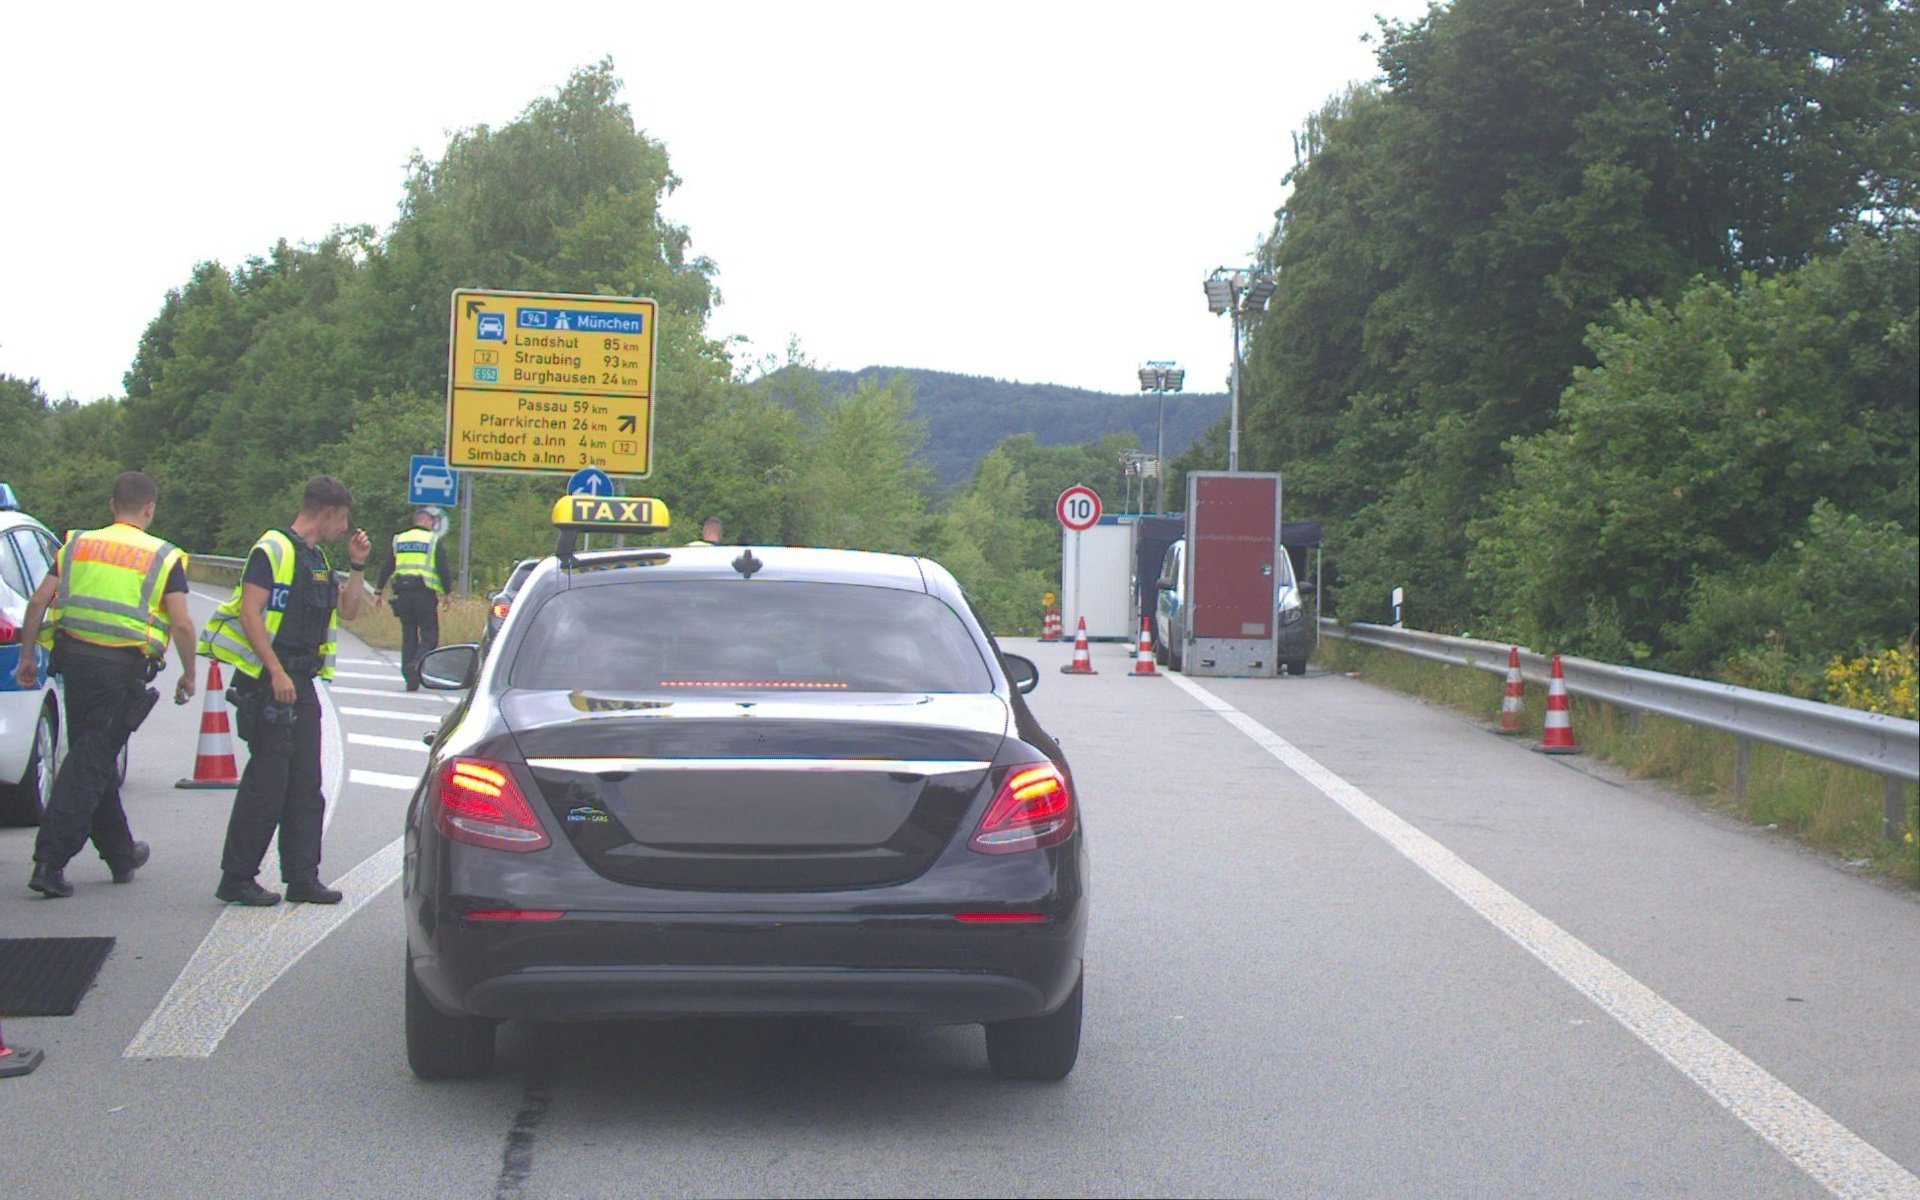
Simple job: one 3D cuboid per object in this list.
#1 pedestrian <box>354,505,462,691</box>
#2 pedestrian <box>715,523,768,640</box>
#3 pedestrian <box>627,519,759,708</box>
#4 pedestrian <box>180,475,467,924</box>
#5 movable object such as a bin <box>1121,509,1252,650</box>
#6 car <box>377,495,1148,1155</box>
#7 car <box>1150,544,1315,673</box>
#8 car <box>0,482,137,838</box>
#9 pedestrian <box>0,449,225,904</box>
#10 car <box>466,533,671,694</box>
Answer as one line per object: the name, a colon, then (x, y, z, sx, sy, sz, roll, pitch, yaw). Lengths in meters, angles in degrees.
pedestrian: (-5.347, -0.026, 33.351, 0.908, 1.763, 0.914, 1, 1, -2)
pedestrian: (-3.671, -0.315, 57.827, 0.664, 1.954, 0.759, 1, 1, 15)
pedestrian: (-2.447, 0.116, 31.451, 0.908, 1.692, 0.914, 0, 1, -26)
pedestrian: (-2.526, 0.372, 13.656, 0.817, 1.712, 0.761, 1, 1, 36)
movable object such as a bin: (3.808, -0.374, 58.427, 1.993, 2.272, 4.168, 1, 1, 1)
car: (-0.701, 0.513, 10.545, 1.855, 1.589, 4.376, 1, 1, -6)
car: (3.867, 0.069, 49.588, 1.916, 1.672, 5.083, 3, 1, 0)
car: (-5.725, 0.244, 18.665, 1.868, 1.737, 4.009, 1, 1, -5)
pedestrian: (-3.559, 0.300, 14.241, 0.812, 1.824, 0.809, 0, 1, 3)
car: (-3.860, 0.087, 34.465, 1.855, 1.493, 4.257, 1, 1, -4)
